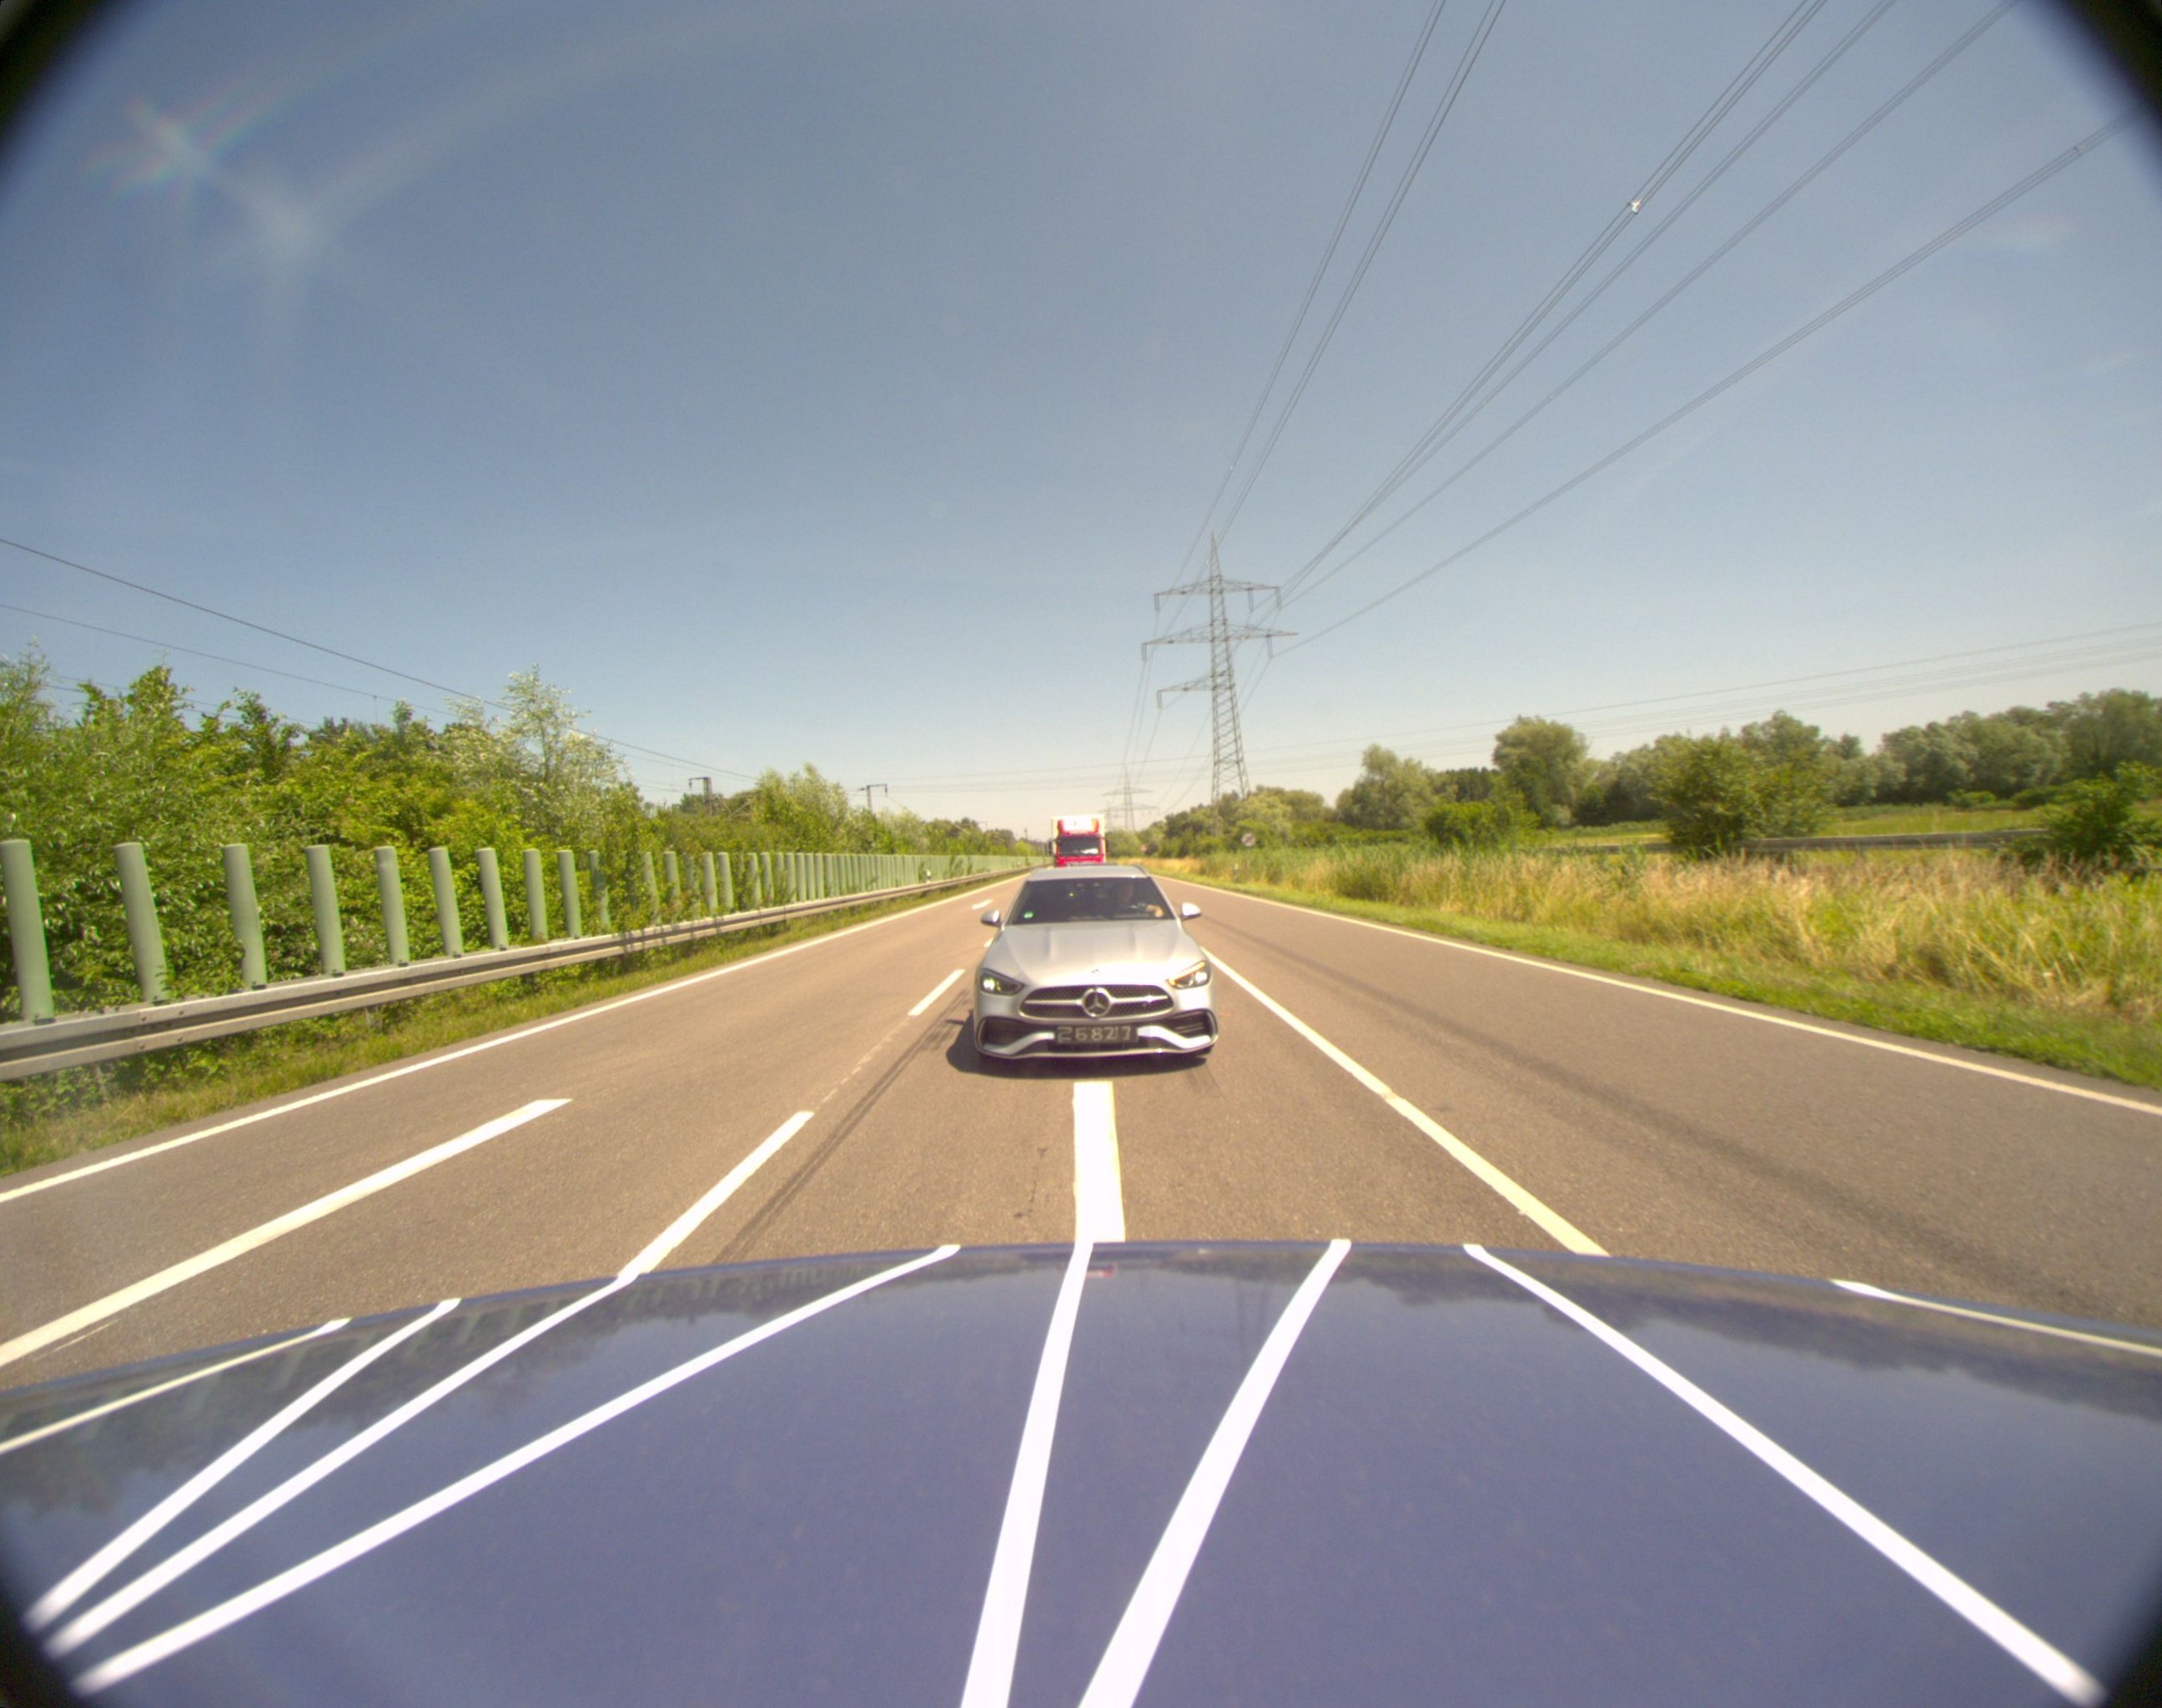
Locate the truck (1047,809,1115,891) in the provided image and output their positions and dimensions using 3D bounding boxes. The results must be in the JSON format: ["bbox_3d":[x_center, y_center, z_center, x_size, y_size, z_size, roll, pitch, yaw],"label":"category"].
[{"bbox_3d":[-0.044,-0.201,38.850,2.907,3.641,7.155,-4,0,-1],"label":"truck"}]

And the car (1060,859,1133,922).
[{"bbox_3d":[0.411,0.889,20.392,1.698,1.385,4.467,-2,0,1],"label":"car"}]

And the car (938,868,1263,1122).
[{"bbox_3d":[0.140,0.930,7.003,1.998,1.437,4.467,-2,0,0],"label":"car"}]
